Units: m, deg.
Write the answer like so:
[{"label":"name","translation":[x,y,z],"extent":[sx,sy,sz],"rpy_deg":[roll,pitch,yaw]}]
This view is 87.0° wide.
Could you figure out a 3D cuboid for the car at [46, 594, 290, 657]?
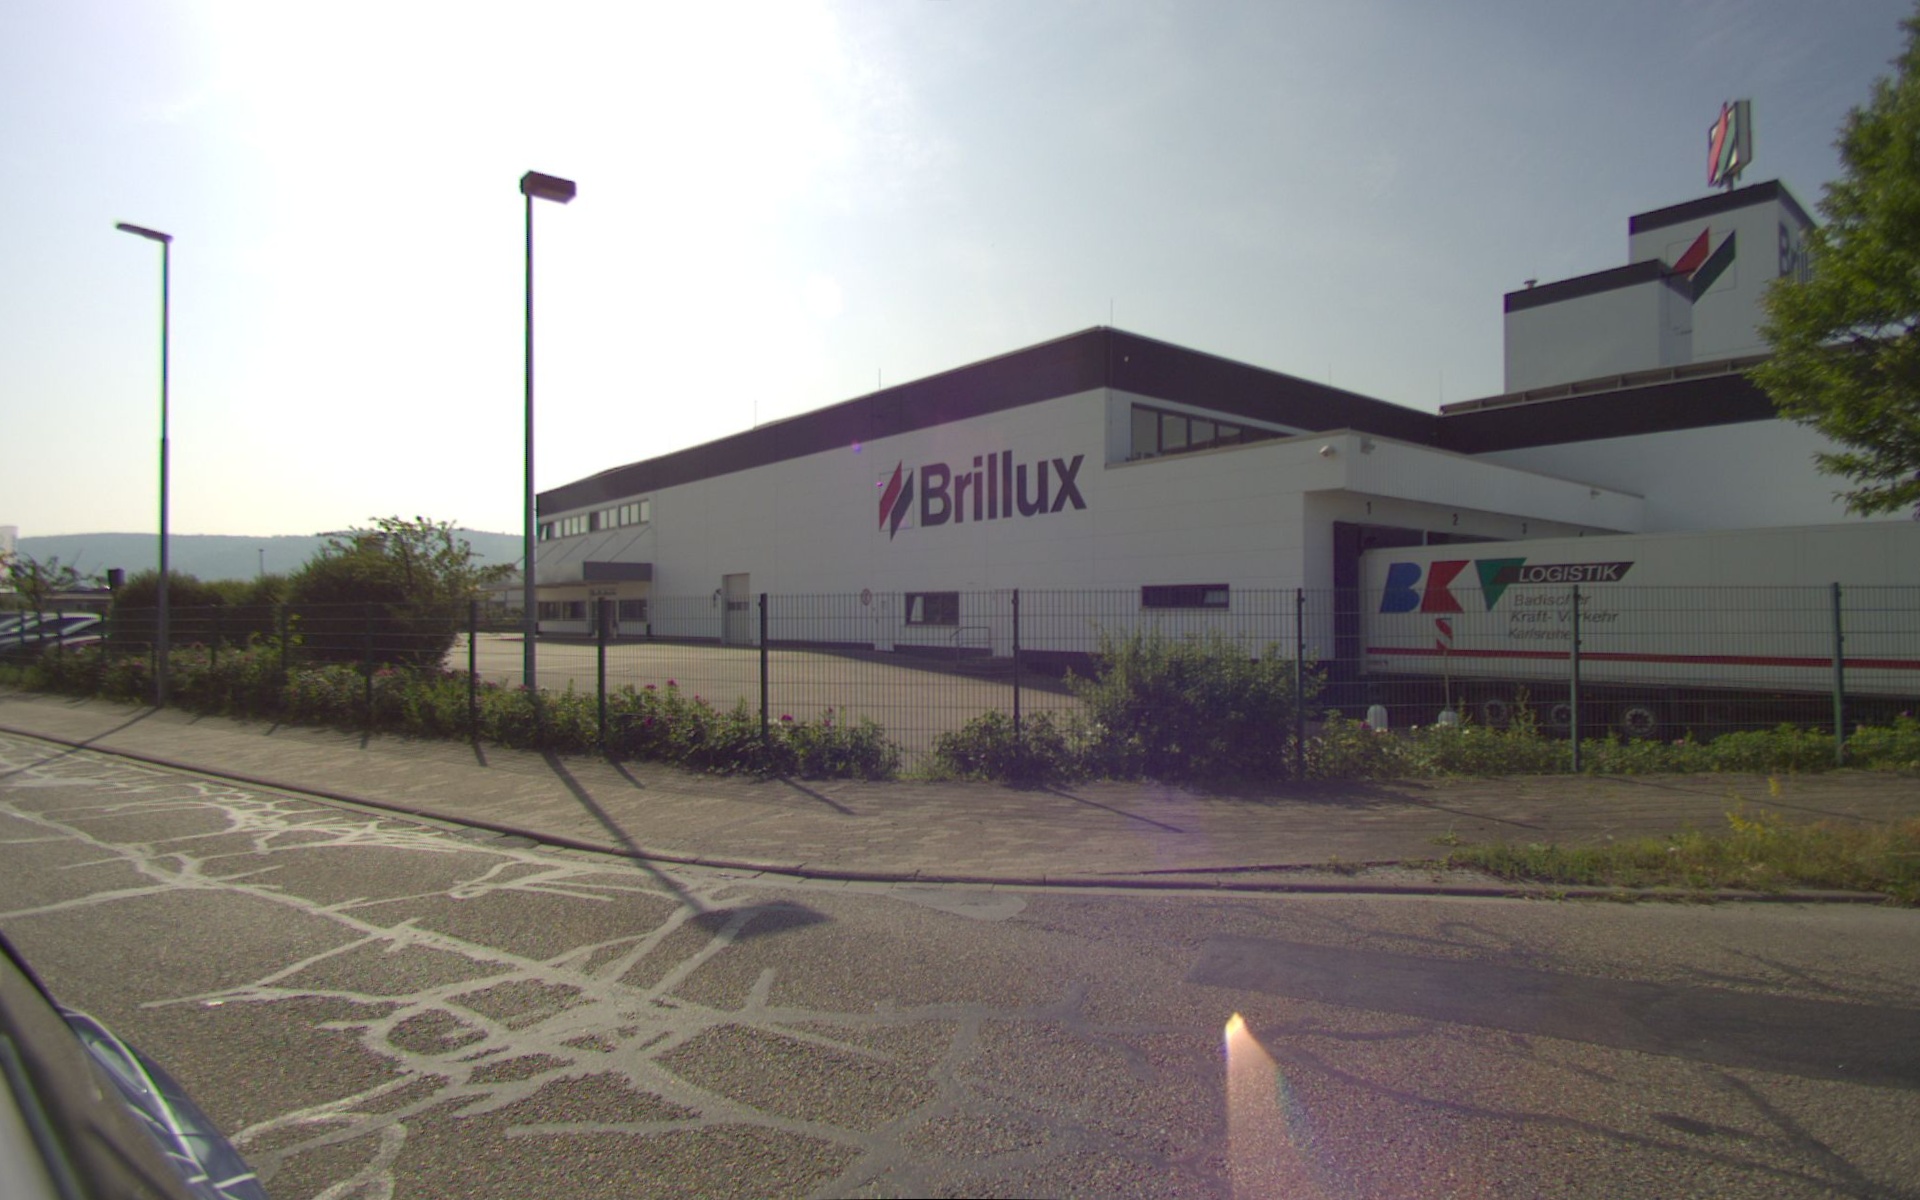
[{"label":"car","translation":[-20.037,0.673,25.823],"extent":[1.946,1.455,4.500],"rpy_deg":[-1,-3,32]}]

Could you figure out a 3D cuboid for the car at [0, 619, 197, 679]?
[{"label":"car","translation":[-22.985,1.283,26.802],"extent":[1.868,1.455,4.008],"rpy_deg":[-1,-3,32]}]

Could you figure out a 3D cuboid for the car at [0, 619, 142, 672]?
[{"label":"car","translation":[-26.369,1.294,29.112],"extent":[1.868,1.455,4.008],"rpy_deg":[-1,-3,32]}]

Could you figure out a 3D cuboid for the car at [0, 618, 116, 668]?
[{"label":"car","translation":[-28.433,1.294,30.643],"extent":[1.868,1.455,4.008],"rpy_deg":[-1,-3,32]}]

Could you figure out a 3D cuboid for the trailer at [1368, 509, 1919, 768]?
[{"label":"trailer","translation":[14.668,0.557,18.371],"extent":[2.451,4.071,13.911],"rpy_deg":[-2,2,-40]}]

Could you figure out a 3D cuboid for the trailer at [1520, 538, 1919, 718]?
[{"label":"trailer","translation":[21.688,0.591,24.589],"extent":[2.819,4.037,14.033],"rpy_deg":[-2,1,-41]}]

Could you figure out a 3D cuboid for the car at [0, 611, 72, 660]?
[{"label":"car","translation":[-31.547,1.128,32.582],"extent":[1.859,1.579,4.094],"rpy_deg":[-1,-3,32]}]

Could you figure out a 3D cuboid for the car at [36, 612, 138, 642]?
[{"label":"car","translation":[-53.733,1.653,62.428],"extent":[4.588,1.765,2.157],"rpy_deg":[1,-1,-36]}]
